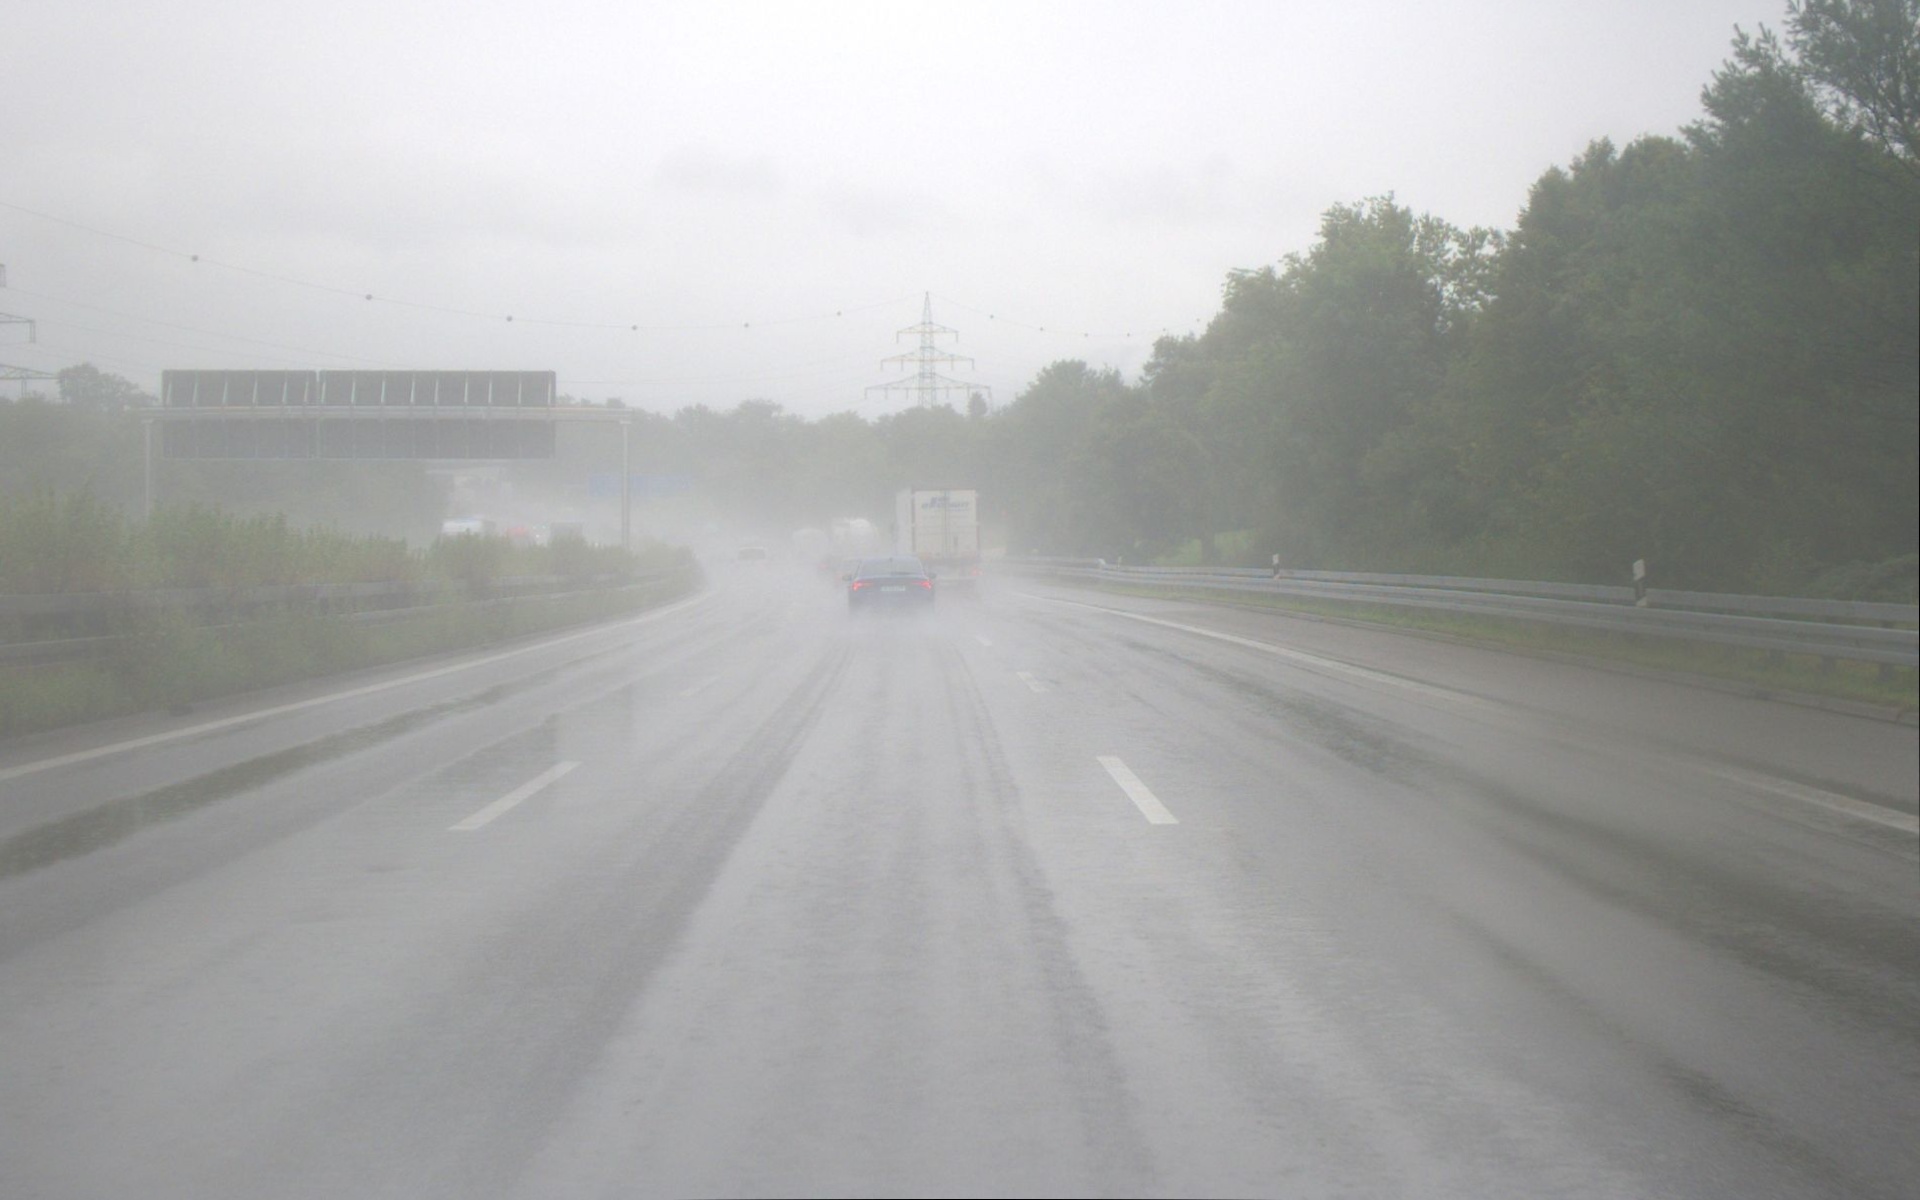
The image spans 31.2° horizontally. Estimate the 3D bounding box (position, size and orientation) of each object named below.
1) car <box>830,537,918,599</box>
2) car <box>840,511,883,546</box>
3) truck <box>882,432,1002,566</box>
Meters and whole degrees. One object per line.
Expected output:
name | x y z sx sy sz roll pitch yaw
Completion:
car | -1.759 -0.688 71.446 1.748 1.208 4.000 2 1 -1
car | -6.611 -4.822 231.112 2.392 2.264 5.004 1 2 -7
truck | -0.888 -4.072 139.305 4.256 4.955 17.343 -2 2 -2
